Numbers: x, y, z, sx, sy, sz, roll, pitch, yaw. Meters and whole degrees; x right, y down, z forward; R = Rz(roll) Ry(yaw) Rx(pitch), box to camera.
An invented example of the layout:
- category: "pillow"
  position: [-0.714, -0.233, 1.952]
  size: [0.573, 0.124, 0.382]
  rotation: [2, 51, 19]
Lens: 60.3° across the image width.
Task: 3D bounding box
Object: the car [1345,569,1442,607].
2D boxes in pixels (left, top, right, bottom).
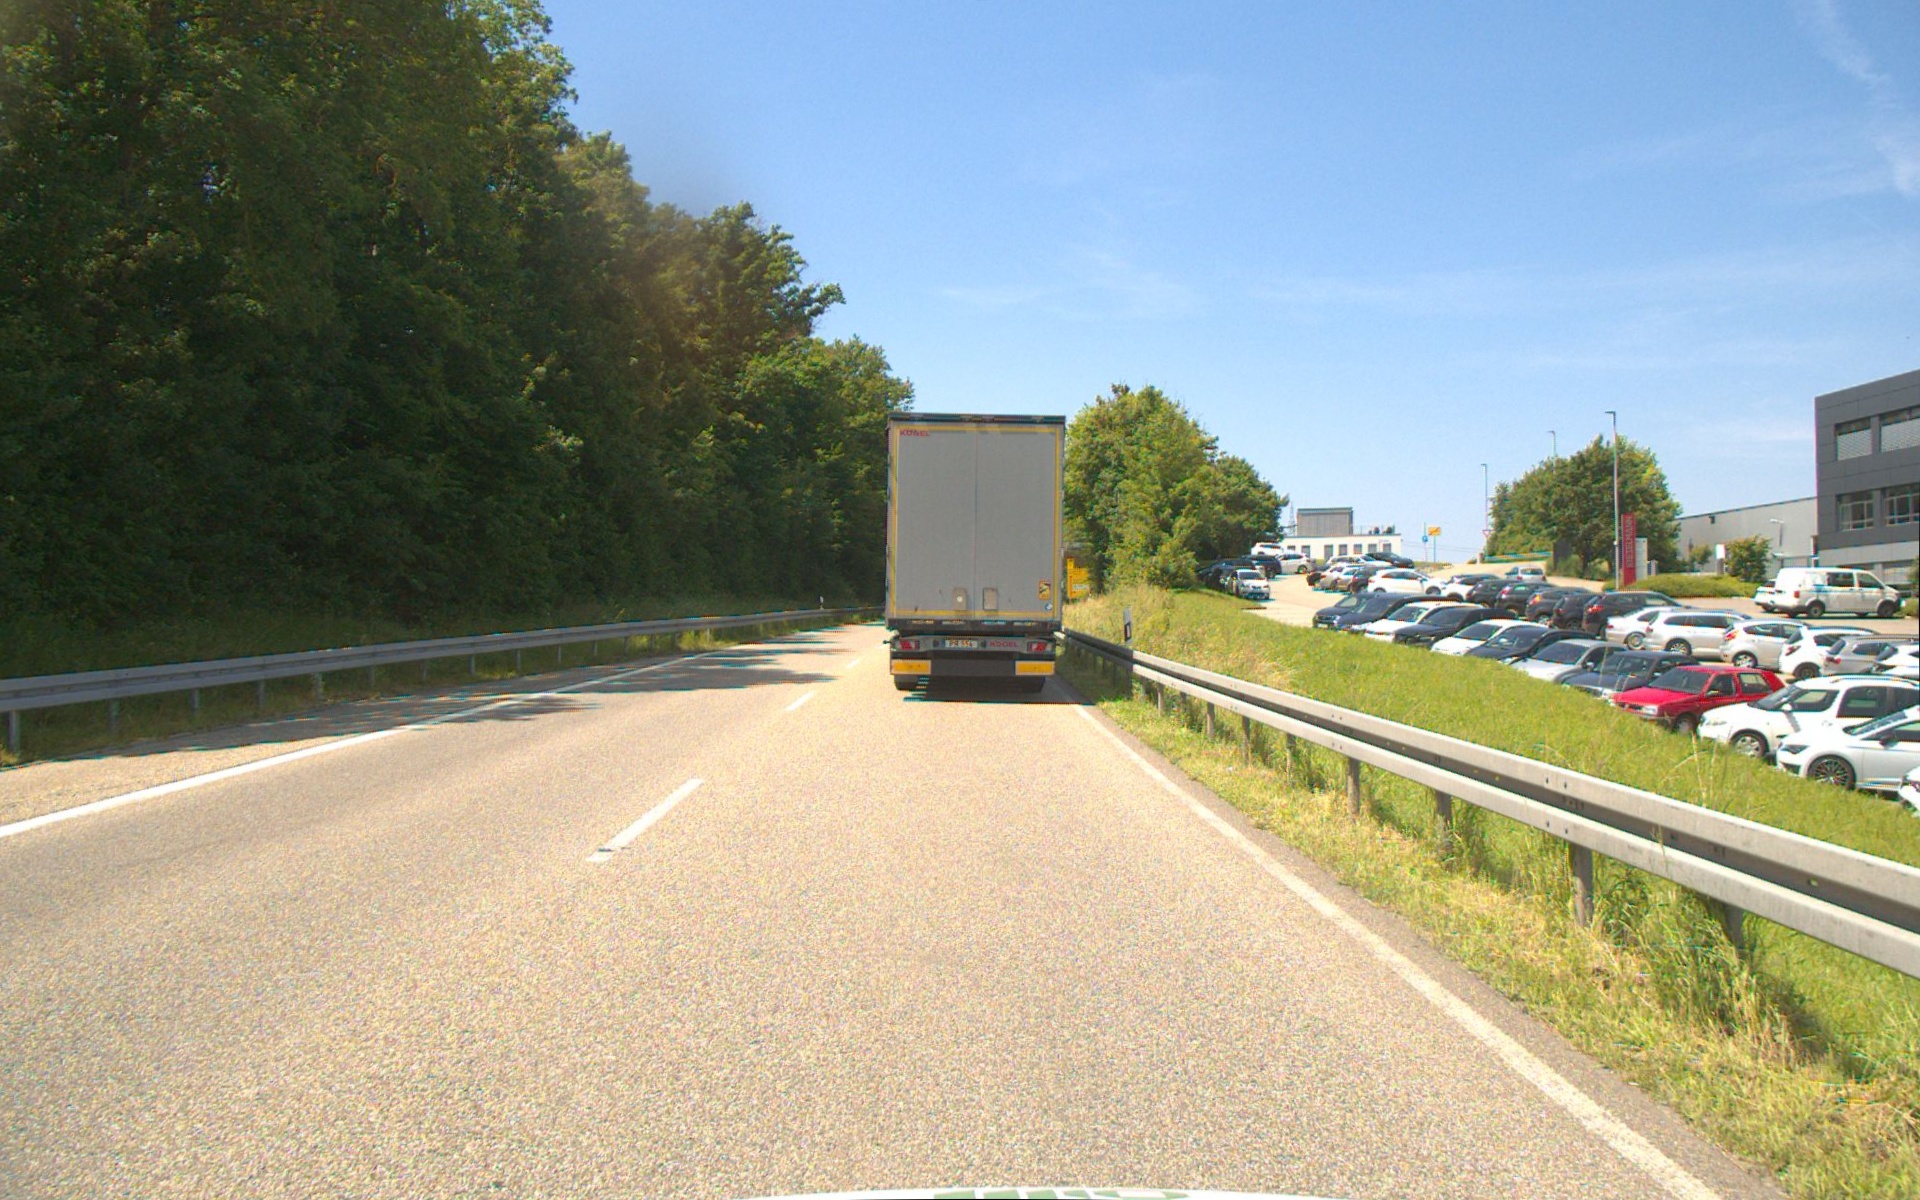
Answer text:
- category: "car"
  position: [21.724, -0.625, 82.893]
  size: [4.478, 1.657, 1.821]
  rotation: [4, 2, 20]

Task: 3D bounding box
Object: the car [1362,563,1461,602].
- category: "car"
  position: [21.894, -0.863, 80.183]
  size: [4.478, 1.657, 1.821]
  rotation: [3, 2, 20]

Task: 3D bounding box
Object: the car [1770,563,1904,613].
- category: "car"
  position: [35.580, -0.502, 67.156]
  size: [4.478, 1.983, 1.821]
  rotation: [0, 2, -1]

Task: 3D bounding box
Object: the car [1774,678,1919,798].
- category: "car"
  position: [15.839, 2.366, 27.165]
  size: [4.282, 1.585, 1.885]
  rotation: [6, 3, 28]

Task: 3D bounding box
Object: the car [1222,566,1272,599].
- category: "car"
  position: [14.637, -0.905, 84.479]
  size: [1.593, 1.376, 3.708]
  rotation: [5, 2, -4]

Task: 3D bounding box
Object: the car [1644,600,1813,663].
- category: "car"
  position: [23.139, 0.915, 49.853]
  size: [4.486, 1.546, 1.818]
  rotation: [2, 5, 30]

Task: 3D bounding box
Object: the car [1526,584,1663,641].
- category: "car"
  position: [23.507, 0.443, 61.272]
  size: [4.485, 1.656, 1.819]
  rotation: [6, 3, 26]

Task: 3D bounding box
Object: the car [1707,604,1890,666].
- category: "car"
  position: [23.545, 0.997, 46.634]
  size: [4.480, 1.503, 1.820]
  rotation: [-2, 4, 25]

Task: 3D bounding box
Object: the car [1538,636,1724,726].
- category: "car"
  position: [15.082, 1.826, 37.082]
  size: [4.332, 1.714, 1.864]
  rotation: [3, 3, -38]

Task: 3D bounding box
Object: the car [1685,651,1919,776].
- category: "car"
  position: [15.729, 2.058, 30.194]
  size: [4.356, 1.714, 1.888]
  rotation: [6, 3, 21]

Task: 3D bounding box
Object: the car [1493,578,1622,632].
- category: "car"
  position: [23.330, 0.172, 64.585]
  size: [4.485, 1.656, 1.819]
  rotation: [6, 3, 26]

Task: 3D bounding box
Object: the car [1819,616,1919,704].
- category: "car"
  position: [23.753, 1.574, 40.665]
  size: [4.483, 1.654, 1.821]
  rotation: [6, 11, 25]

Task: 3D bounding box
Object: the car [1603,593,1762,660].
- category: "car"
  position: [23.164, 0.808, 53.065]
  size: [4.485, 1.656, 1.819]
  rotation: [6, 3, 26]

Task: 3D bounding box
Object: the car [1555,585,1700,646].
- category: "car"
  position: [23.416, 0.527, 58.047]
  size: [4.485, 1.656, 1.819]
  rotation: [6, 3, 26]

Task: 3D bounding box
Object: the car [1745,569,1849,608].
- category: "car"
  position: [35.865, -0.495, 70.906]
  size: [3.586, 1.615, 1.685]
  rotation: [0, 2, 0]

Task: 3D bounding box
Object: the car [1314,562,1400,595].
- category: "car"
  position: [22.163, -1.208, 92.285]
  size: [4.477, 1.657, 1.821]
  rotation: [2, -1, 20]

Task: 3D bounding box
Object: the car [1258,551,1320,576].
- category: "car"
  position: [24.334, -2.689, 122.427]
  size: [4.315, 1.714, 1.871]
  rotation: [-1, 5, -29]

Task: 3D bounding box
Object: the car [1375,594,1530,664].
- category: "car"
  position: [14.668, 0.862, 49.211]
  size: [4.315, 1.714, 1.871]
  rotation: [4, 3, -30]

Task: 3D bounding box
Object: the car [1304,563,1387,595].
- category: "car"
  position: [22.222, -1.223, 95.333]
  size: [4.477, 1.657, 1.821]
  rotation: [2, 0, 20]

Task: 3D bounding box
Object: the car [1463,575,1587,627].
- category: "car"
  position: [23.066, 0.014, 67.514]
  size: [4.485, 1.656, 1.819]
  rotation: [6, 3, 26]

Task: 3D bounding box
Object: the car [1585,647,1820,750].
- category: "car"
  position: [15.178, 2.014, 33.807]
  size: [4.303, 1.714, 1.876]
  rotation: [4, 2, -23]

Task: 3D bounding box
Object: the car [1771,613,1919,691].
- category: "car"
  position: [23.883, 1.361, 43.485]
  size: [4.481, 1.656, 1.821]
  rotation: [2, 7, 25]

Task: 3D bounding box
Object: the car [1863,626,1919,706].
- category: "car"
  position: [23.248, 1.541, 37.738]
  size: [4.481, 1.656, 1.820]
  rotation: [1, 4, 25]

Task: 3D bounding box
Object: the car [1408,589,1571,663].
- category: "car"
  position: [14.923, 0.728, 46.588]
  size: [4.315, 1.714, 1.871]
  rotation: [4, 3, -30]

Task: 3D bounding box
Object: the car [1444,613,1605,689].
- category: "car"
  position: [14.876, 1.353, 43.498]
  size: [4.332, 1.714, 1.864]
  rotation: [3, 3, -38]

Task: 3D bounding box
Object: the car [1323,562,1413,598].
- category: "car"
  position: [21.997, -1.077, 89.076]
  size: [4.478, 1.656, 1.821]
  rotation: [4, 3, 20]

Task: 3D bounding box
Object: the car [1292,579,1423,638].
- category: "car"
  position: [14.091, 0.310, 58.591]
  size: [4.315, 1.714, 1.871]
  rotation: [4, 3, -30]

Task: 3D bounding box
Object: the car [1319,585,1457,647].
- category: "car"
  position: [14.330, 0.542, 55.349]
  size: [4.315, 1.714, 1.871]
  rotation: [4, 3, -30]

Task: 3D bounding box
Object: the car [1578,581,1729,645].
- category: "car"
  position: [23.308, 0.414, 55.615]
  size: [4.485, 1.656, 1.819]
  rotation: [6, 3, 26]

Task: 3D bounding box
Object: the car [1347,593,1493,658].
- category: "car"
  position: [14.670, 0.815, 52.717]
  size: [4.315, 1.714, 1.871]
  rotation: [4, 3, -30]

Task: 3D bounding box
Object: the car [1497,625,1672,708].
- category: "car"
  position: [15.019, 1.605, 39.680]
  size: [4.332, 1.714, 1.864]
  rotation: [3, 3, -38]

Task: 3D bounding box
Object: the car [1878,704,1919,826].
- category: "car"
  position: [15.817, 2.606, 23.775]
  size: [4.277, 1.585, 1.887]
  rotation: [6, 3, 23]

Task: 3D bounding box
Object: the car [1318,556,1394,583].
- category: "car"
  position: [26.109, -2.017, 109.035]
  size: [4.492, 1.657, 1.815]
  rotation: [2, 0, 34]

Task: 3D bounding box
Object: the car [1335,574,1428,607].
- category: "car"
  position: [21.913, -0.511, 85.965]
  size: [4.477, 1.657, 1.821]
  rotation: [1, 1, 20]

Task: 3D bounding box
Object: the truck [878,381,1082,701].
- category: "truck"
  position: [0.210, -0.857, 27.929]
  size: [2.808, 4.435, 9.787]
  rotation: [0, 0, -1]

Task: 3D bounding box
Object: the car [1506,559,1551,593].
- category: "car"
  position: [30.442, -1.289, 88.630]
  size: [1.768, 1.691, 4.003]
  rotation: [2, 0, 12]

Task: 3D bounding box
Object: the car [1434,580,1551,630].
- category: "car"
  position: [22.769, 0.205, 70.750]
  size: [4.485, 1.656, 1.819]
  rotation: [6, 3, 26]
